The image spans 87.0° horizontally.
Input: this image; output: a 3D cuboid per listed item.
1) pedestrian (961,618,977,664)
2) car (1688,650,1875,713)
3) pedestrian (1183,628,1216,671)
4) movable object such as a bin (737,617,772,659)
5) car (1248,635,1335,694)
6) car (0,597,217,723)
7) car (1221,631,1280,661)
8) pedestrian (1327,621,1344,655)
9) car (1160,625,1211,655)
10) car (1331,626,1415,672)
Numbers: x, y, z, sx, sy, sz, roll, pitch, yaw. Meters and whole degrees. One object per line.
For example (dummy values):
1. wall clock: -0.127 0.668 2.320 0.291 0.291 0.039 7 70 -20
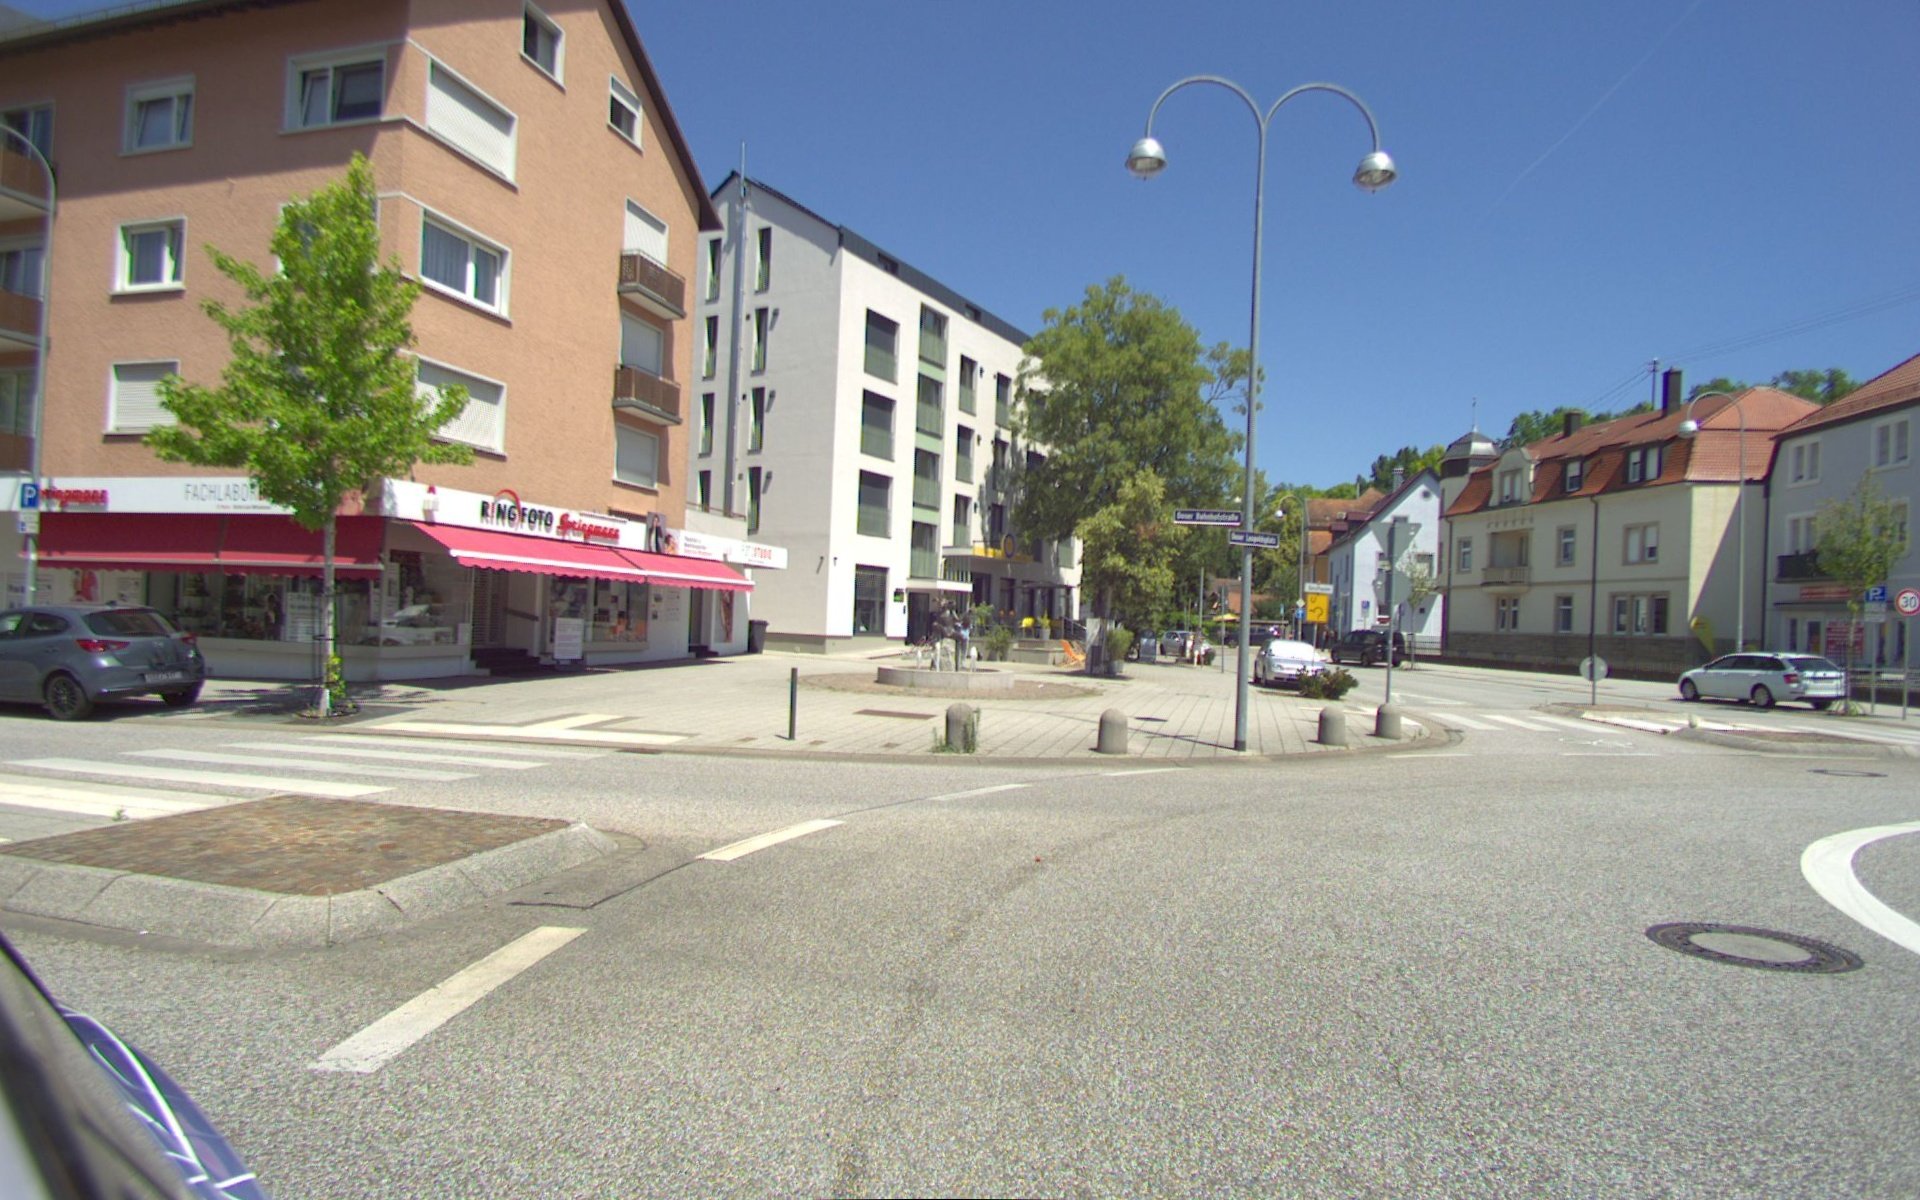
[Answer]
1. pedestrian: 0.336 1.452 36.211 0.446 1.631 0.449 1 -2 14
2. car: 21.894 2.131 27.204 1.586 1.402 4.079 -1 -1 -1
3. pedestrian: 9.503 1.976 40.136 0.934 1.661 0.821 2 -2 -27
4. movable object such as a bin: -6.441 1.188 31.776 0.741 1.262 0.832 1 -2 18
5. car: 9.734 1.849 29.983 1.776 1.536 3.989 1 -2 8
6. car: -12.685 0.749 14.016 4.020 1.497 1.666 1 1 13
7. car: 20.882 3.314 72.845 3.964 2.029 1.990 1 -2 16
8. pedestrian: 22.590 2.277 60.915 0.719 2.029 0.864 0 -2 39
9. car: 13.196 2.307 59.514 1.971 1.668 4.204 1 -1 -1
10. car: 20.571 2.399 50.560 1.967 2.029 4.009 1 0 -10
